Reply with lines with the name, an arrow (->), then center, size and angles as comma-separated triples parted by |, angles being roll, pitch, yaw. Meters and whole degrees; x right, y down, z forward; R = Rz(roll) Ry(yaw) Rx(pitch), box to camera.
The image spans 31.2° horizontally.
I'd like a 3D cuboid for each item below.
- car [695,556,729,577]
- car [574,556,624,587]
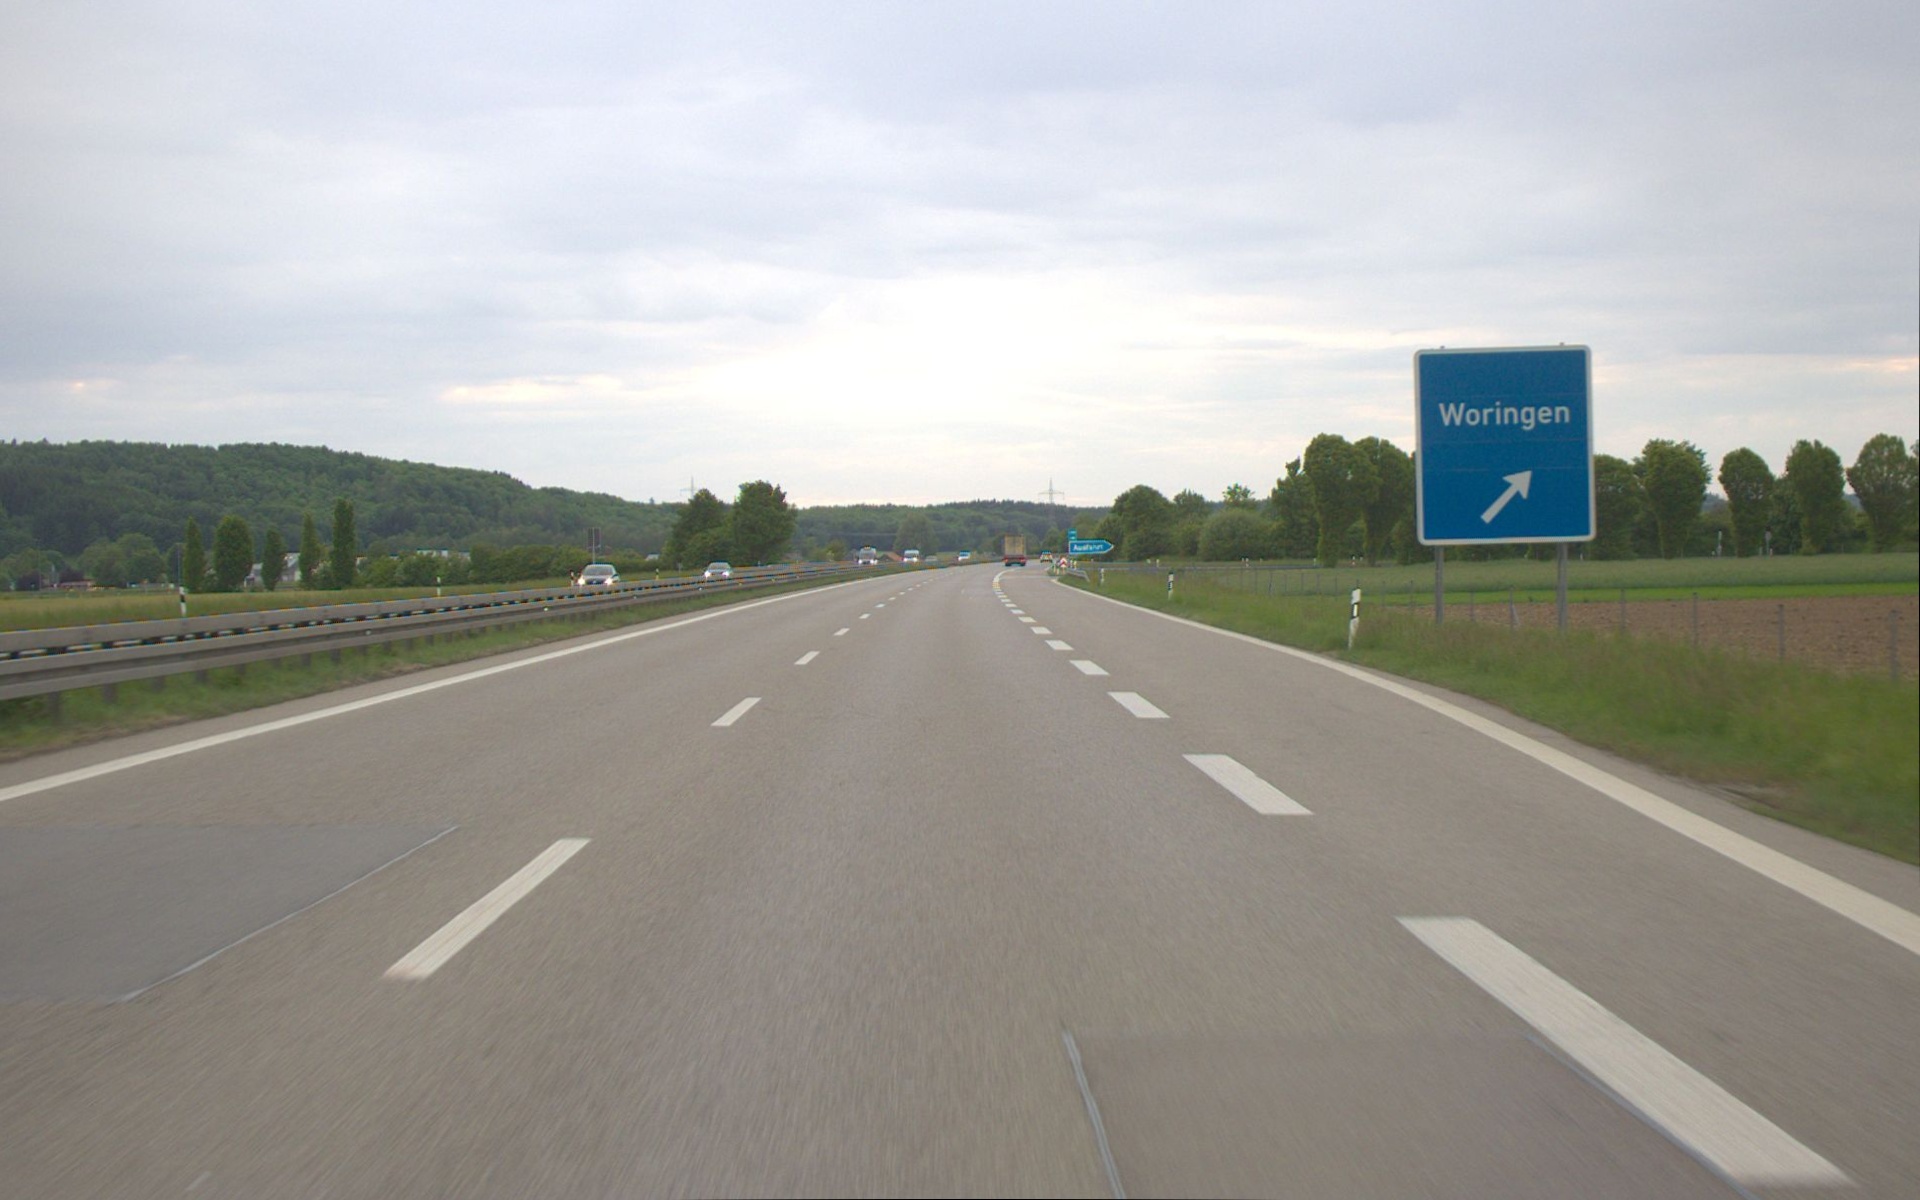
car -> -17.082, -2.286, 237.011 | 1.993, 1.411, 4.524 | 0, 1, 0
car -> -17.473, -1.396, 166.520 | 1.993, 1.475, 4.452 | 0, 1, 0
